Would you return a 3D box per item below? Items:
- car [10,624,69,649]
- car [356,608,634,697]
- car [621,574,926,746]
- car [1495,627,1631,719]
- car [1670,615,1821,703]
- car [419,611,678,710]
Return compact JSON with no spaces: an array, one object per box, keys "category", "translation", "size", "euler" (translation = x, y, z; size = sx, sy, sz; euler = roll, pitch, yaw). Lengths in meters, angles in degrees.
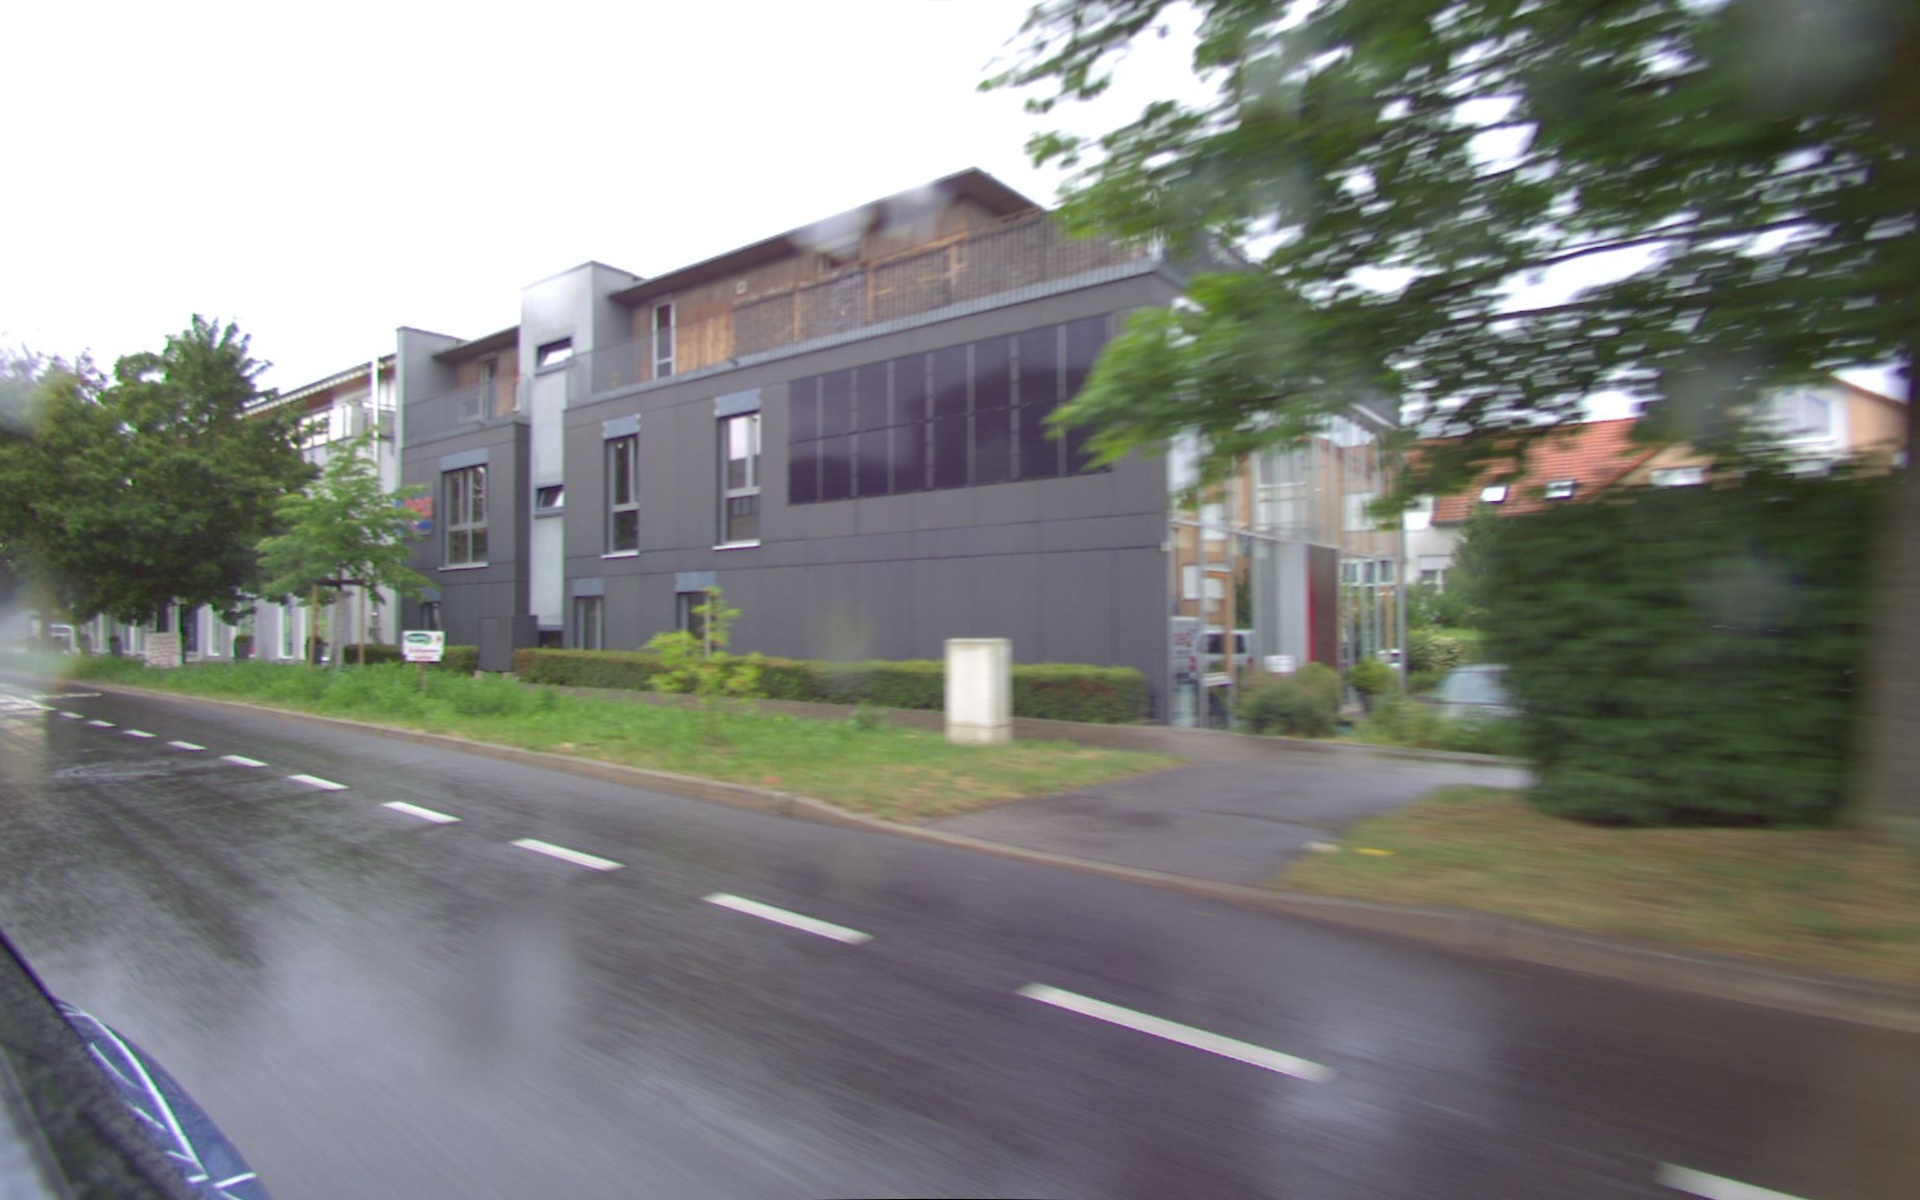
[{"category":"car","translation":[-73.749,2.902,81.076],"size":[5.589,1.836,2.018],"euler":[-3,-1,32]},{"category":"car","translation":[-7.530,0.837,16.690],"size":[1.580,1.294,3.862],"euler":[-1,-2,38]},{"category":"car","translation":[-1.776,0.562,10.244],"size":[1.252,1.466,2.880],"euler":[2,-1,38]},{"category":"car","translation":[13.597,1.562,22.680],"size":[2.044,1.804,4.505],"euler":[0,-2,39]},{"category":"car","translation":[16.053,1.178,20.920],"size":[2.174,1.579,4.511],"euler":[0,-2,34]},{"category":"car","translation":[-5.466,0.779,13.662],"size":[1.469,1.168,2.880],"euler":[-1,-2,38]}]
